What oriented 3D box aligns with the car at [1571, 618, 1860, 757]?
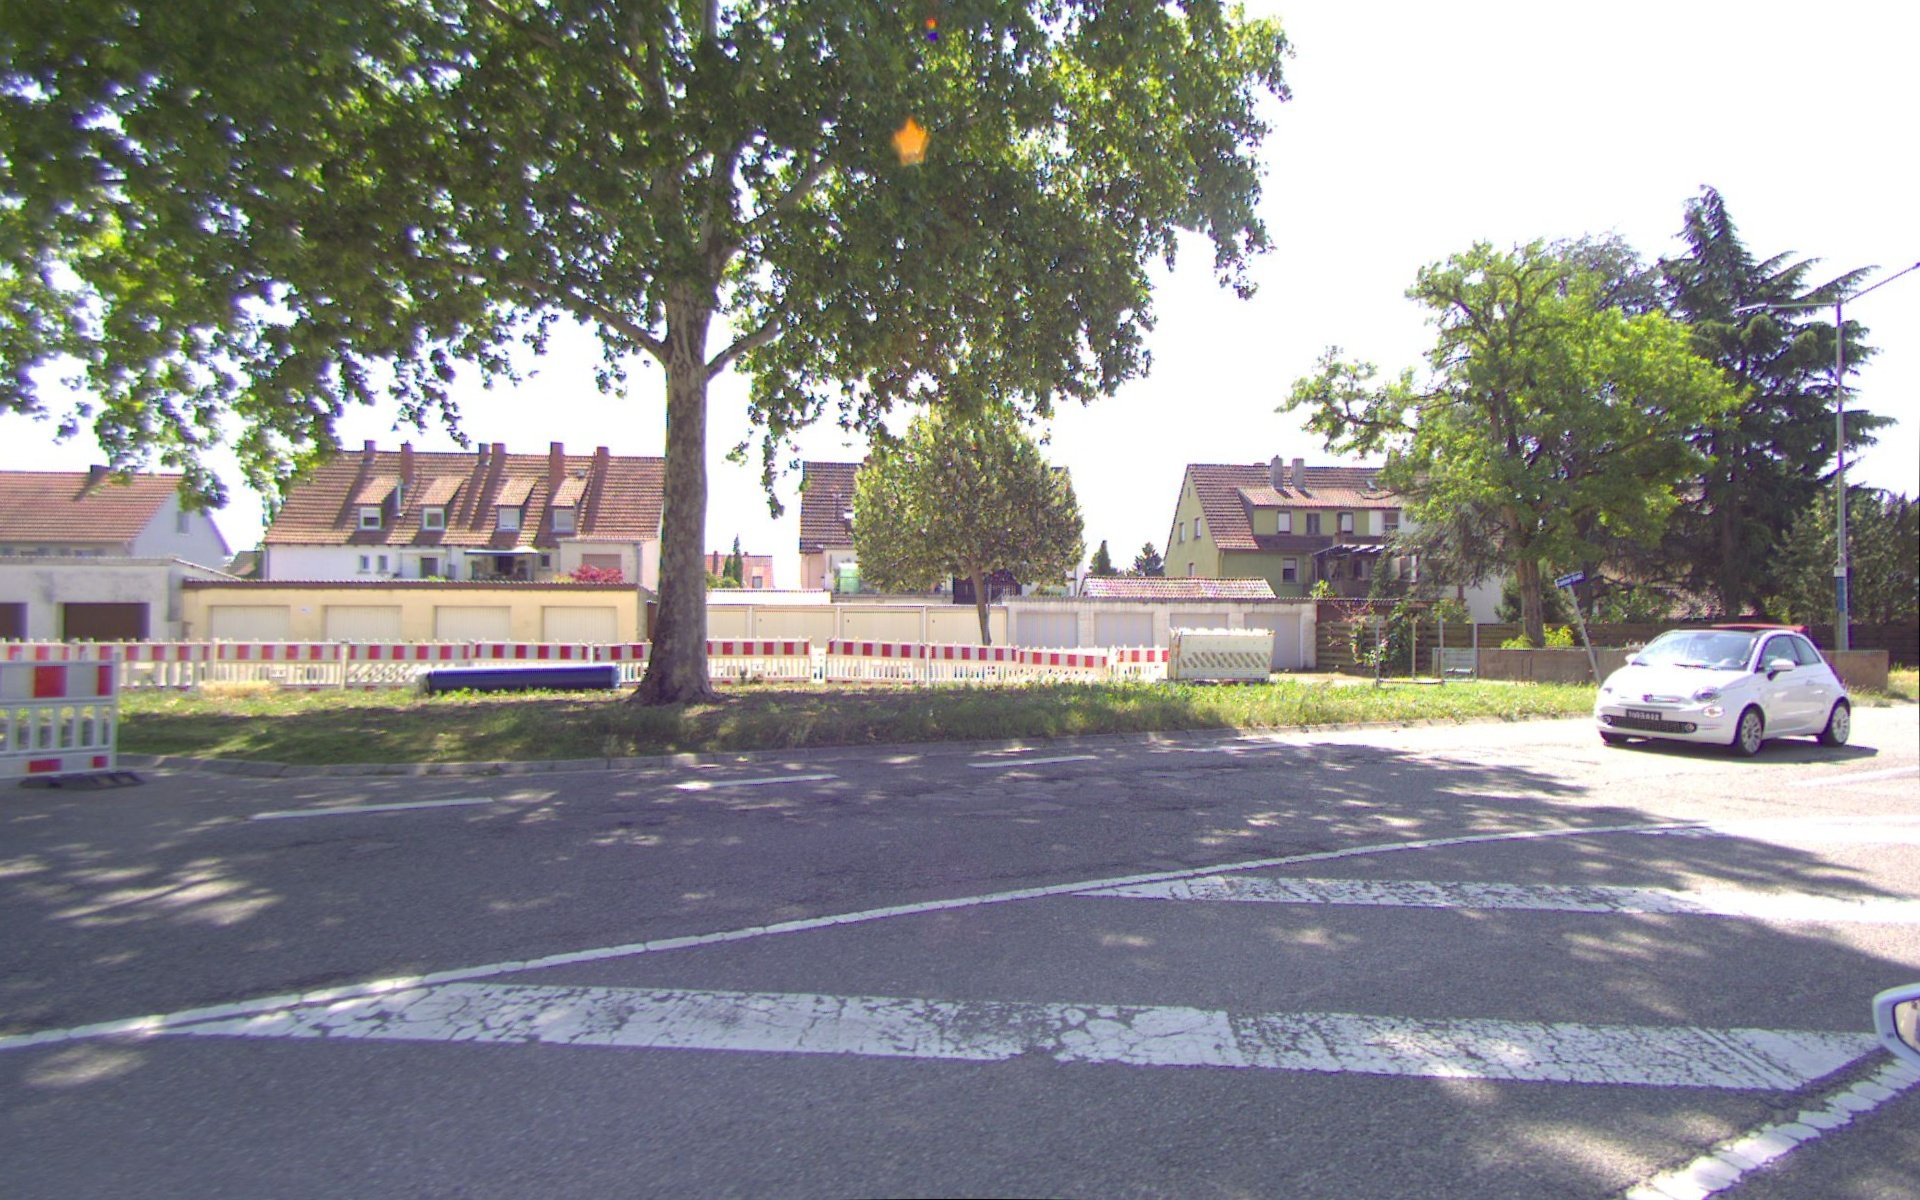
[{"bbox_3d":[9.650,1.025,12.817,3.416,1.530,1.692,1,0,-29],"label":"car"}]
